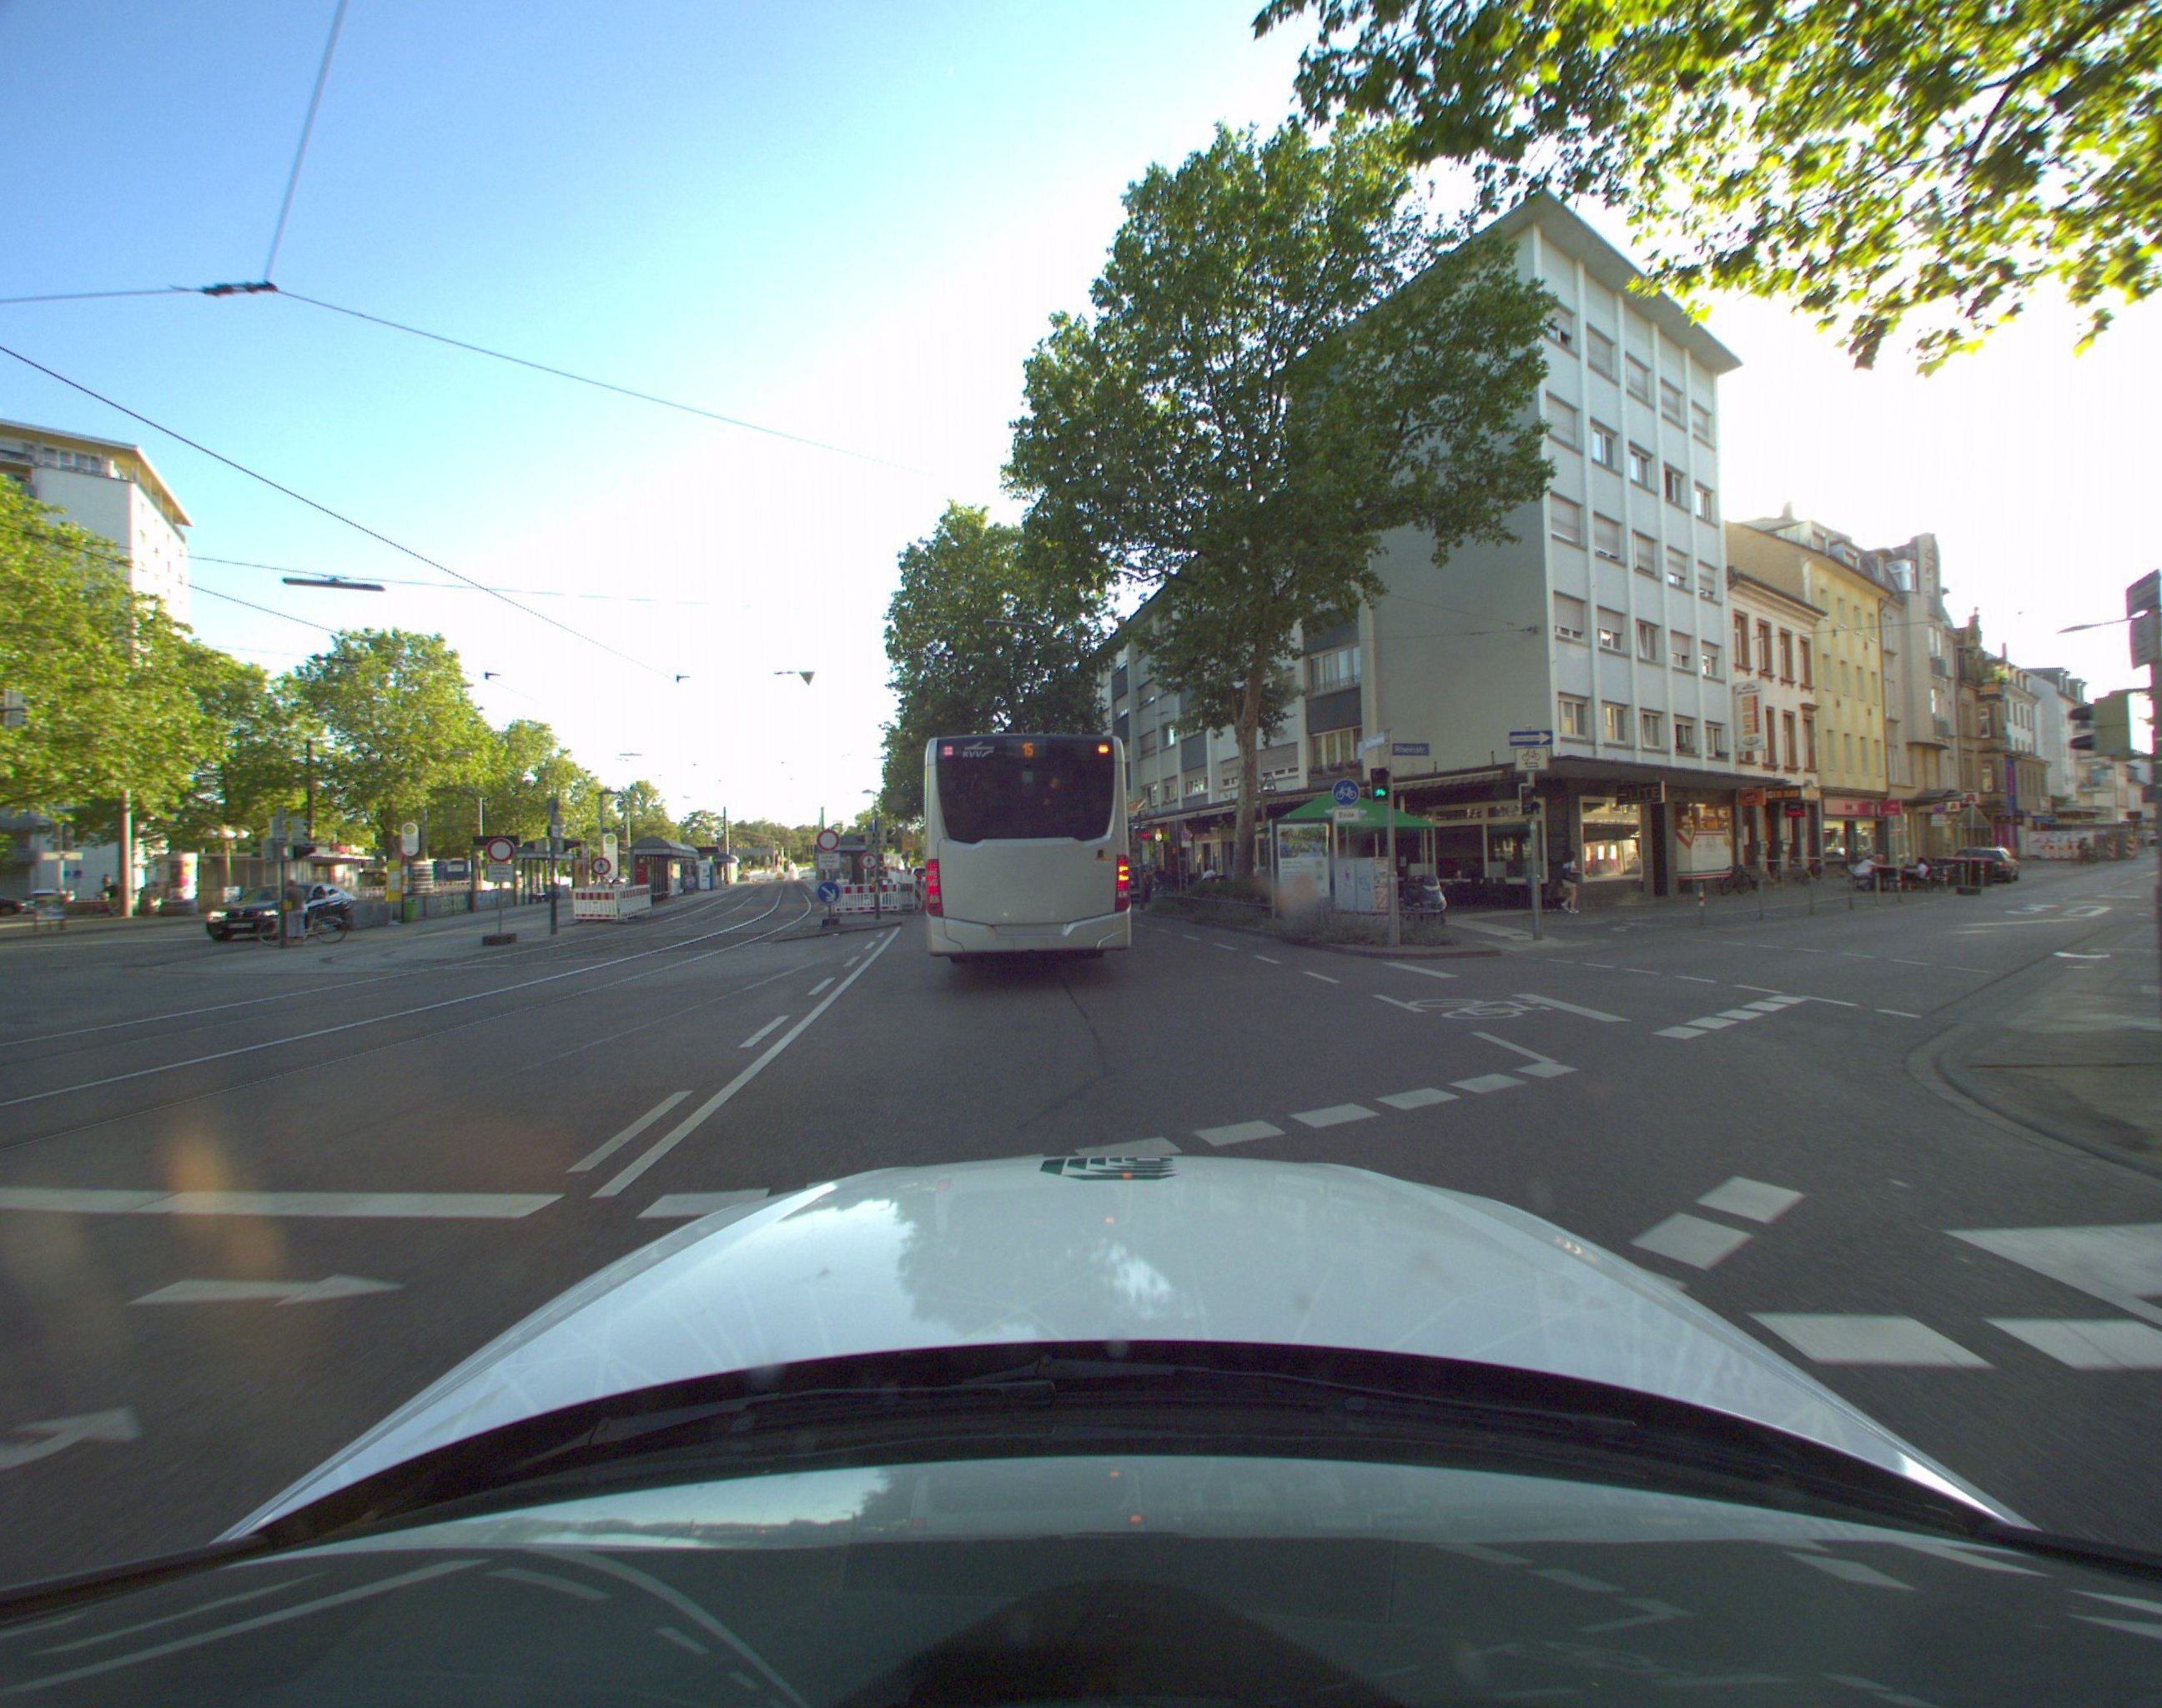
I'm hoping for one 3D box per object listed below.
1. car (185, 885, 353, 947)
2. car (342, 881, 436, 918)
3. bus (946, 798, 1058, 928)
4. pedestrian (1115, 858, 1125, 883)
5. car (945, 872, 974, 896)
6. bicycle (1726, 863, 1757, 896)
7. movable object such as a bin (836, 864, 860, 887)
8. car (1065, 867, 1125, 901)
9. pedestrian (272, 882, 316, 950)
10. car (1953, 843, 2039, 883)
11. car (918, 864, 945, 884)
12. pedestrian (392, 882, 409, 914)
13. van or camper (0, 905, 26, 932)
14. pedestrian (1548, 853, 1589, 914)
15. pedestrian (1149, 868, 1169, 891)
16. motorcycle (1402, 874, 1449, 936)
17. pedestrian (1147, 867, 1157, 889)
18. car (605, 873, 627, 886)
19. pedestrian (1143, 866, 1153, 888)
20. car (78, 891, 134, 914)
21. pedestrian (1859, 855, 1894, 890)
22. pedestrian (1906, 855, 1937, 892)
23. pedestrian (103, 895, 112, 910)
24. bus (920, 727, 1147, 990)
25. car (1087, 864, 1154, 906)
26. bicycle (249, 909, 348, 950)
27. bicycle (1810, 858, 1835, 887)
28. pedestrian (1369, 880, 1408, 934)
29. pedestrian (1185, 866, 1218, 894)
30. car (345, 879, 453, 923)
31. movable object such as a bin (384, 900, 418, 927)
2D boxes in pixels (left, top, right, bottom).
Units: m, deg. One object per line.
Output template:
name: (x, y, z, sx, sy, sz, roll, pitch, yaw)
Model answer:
car: (-24.425, 1.807, 24.741, 1.891, 1.585, 4.181, -1, -1, -18)
car: (-32.737, 2.122, 38.670, 1.891, 1.531, 4.181, -1, -1, -18)
bus: (-2.498, 0.311, 24.911, 2.655, 3.099, 10.191, -1, -1, -7)
pedestrian: (1.963, 0.856, 41.274, 0.388, 1.257, 0.390, -1, -1, -16)
car: (-8.214, 1.976, 54.762, 1.757, 1.464, 3.985, -1, -1, -11)
bicycle: (22.455, 0.858, 27.662, 1.725, 1.041, 0.291, 0, -3, -35)
movable object such as a bin: (-27.502, 2.509, 96.036, 2.500, 2.477, 5.324, -1, -1, -17)
car: (0.578, 1.339, 37.440, 1.667, 1.394, 3.392, -4, 0, -18)
pedestrian: (-20.648, 1.603, 21.374, 0.722, 1.725, 0.396, -1, -1, -21)
car: (38.306, 0.347, 34.071, 4.015, 1.495, 1.823, -2, 1, -33)
car: (-11.806, 1.541, 64.173, 1.759, 1.464, 3.980, -1, -1, -15)
pedestrian: (-43.982, 2.816, 52.640, 0.711, 2.014, 0.737, -1, -1, -27)
van or camper: (-67.567, 4.006, 49.483, 1.805, 1.552, 4.025, -2, -1, 31)
pedestrian: (12.725, 0.758, 21.265, 0.606, 1.548, 0.709, 1, -1, -33)
pedestrian: (3.891, 1.282, 40.672, 0.706, 1.108, 0.762, -1, -1, -15)
motorcycle: (6.863, 0.996, 16.278, 0.566, 1.158, 1.464, 0, -1, 10)
pedestrian: (3.722, 1.275, 42.870, 0.388, 1.122, 0.390, -1, -1, -16)
car: (-59.660, 3.230, 104.491, 1.893, 1.531, 4.176, -1, -1, -22)
pedestrian: (3.583, 1.216, 43.315, 0.392, 1.174, 0.386, -1, -1, -17)
car: (-77.183, 3.794, 64.522, 2.009, 1.565, 3.955, 1, 0, -37)
pedestrian: (28.333, 0.657, 29.015, 0.548, 1.243, 0.732, 0, -1, 1)
pedestrian: (29.082, 0.660, 28.185, 0.601, 1.243, 0.686, 1, -1, -36)
pedestrian: (-75.809, 3.779, 63.402, 0.394, 1.072, 0.384, -1, -1, -40)
bus: (-1.171, 0.126, 14.808, 2.656, 3.099, 10.189, -1, -1, -7)
car: (1.581, 1.241, 33.515, 1.666, 1.516, 3.394, -4, 0, -16)
bicycle: (-20.864, 2.005, 21.746, 1.847, 0.942, 0.460, -1, -1, -21)
bicycle: (29.814, 0.739, 32.750, 1.725, 1.040, 0.291, -4, -2, -35)
pedestrian: (7.347, 1.246, 19.483, 0.551, 1.243, 0.729, 0, -1, -14)
pedestrian: (5.370, 1.167, 36.461, 1.180, 1.197, 0.921, -1, -1, -15)
car: (-27.362, 1.839, 32.853, 1.891, 1.531, 4.181, -1, -1, -18)
movable object such as a bin: (-22.981, 2.007, 27.532, 0.672, 0.866, 0.698, 0, 0, -18)
